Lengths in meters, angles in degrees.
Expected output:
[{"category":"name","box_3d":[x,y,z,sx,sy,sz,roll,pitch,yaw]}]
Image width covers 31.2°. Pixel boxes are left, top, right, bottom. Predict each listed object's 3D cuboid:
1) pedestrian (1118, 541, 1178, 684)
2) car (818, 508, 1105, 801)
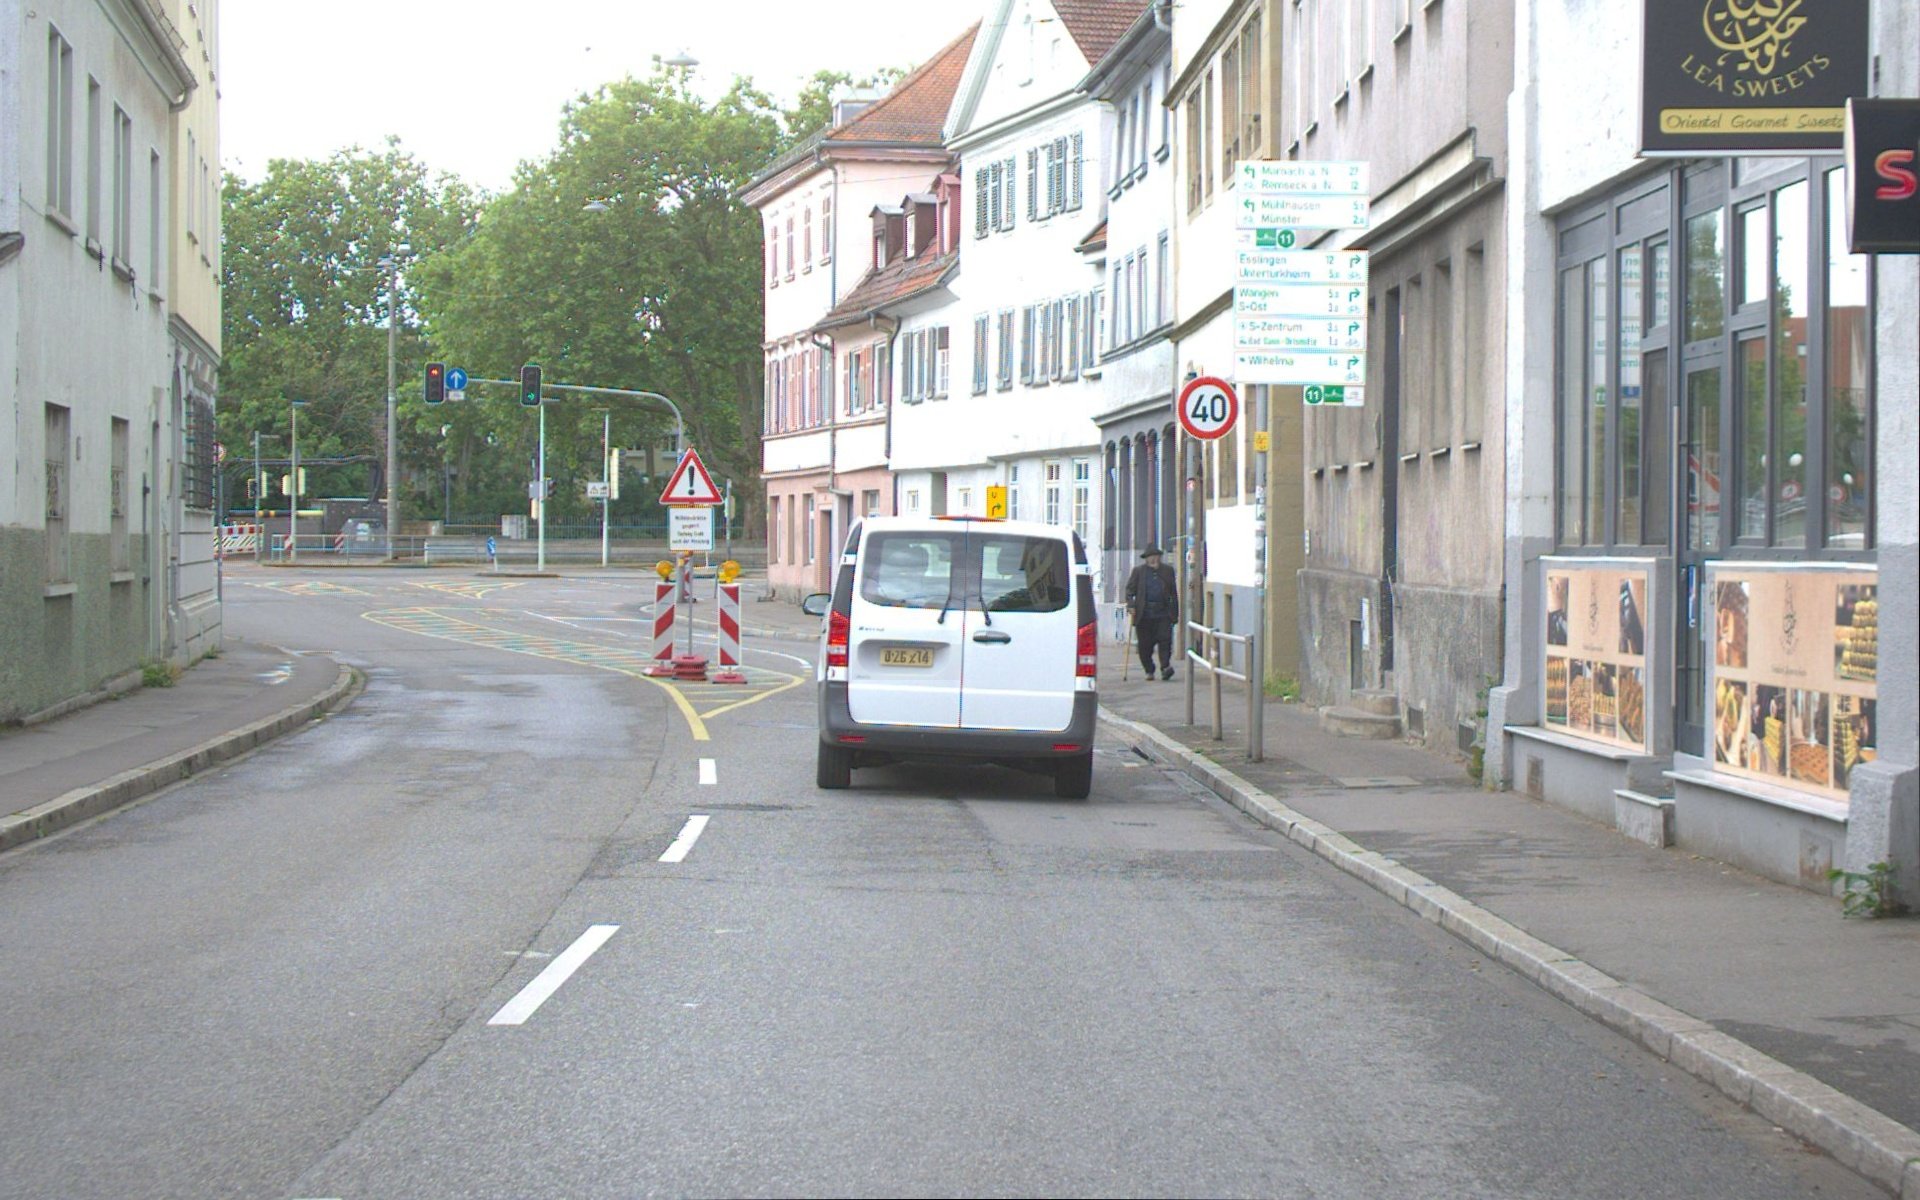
[{"category":"pedestrian","box_3d":[2.311,0.147,42.337,0.643,1.741,0.562,1,0,-5]},{"category":"car","box_3d":[-0.065,0.327,24.429,1.872,1.905,4.000,0,1,-2]}]
